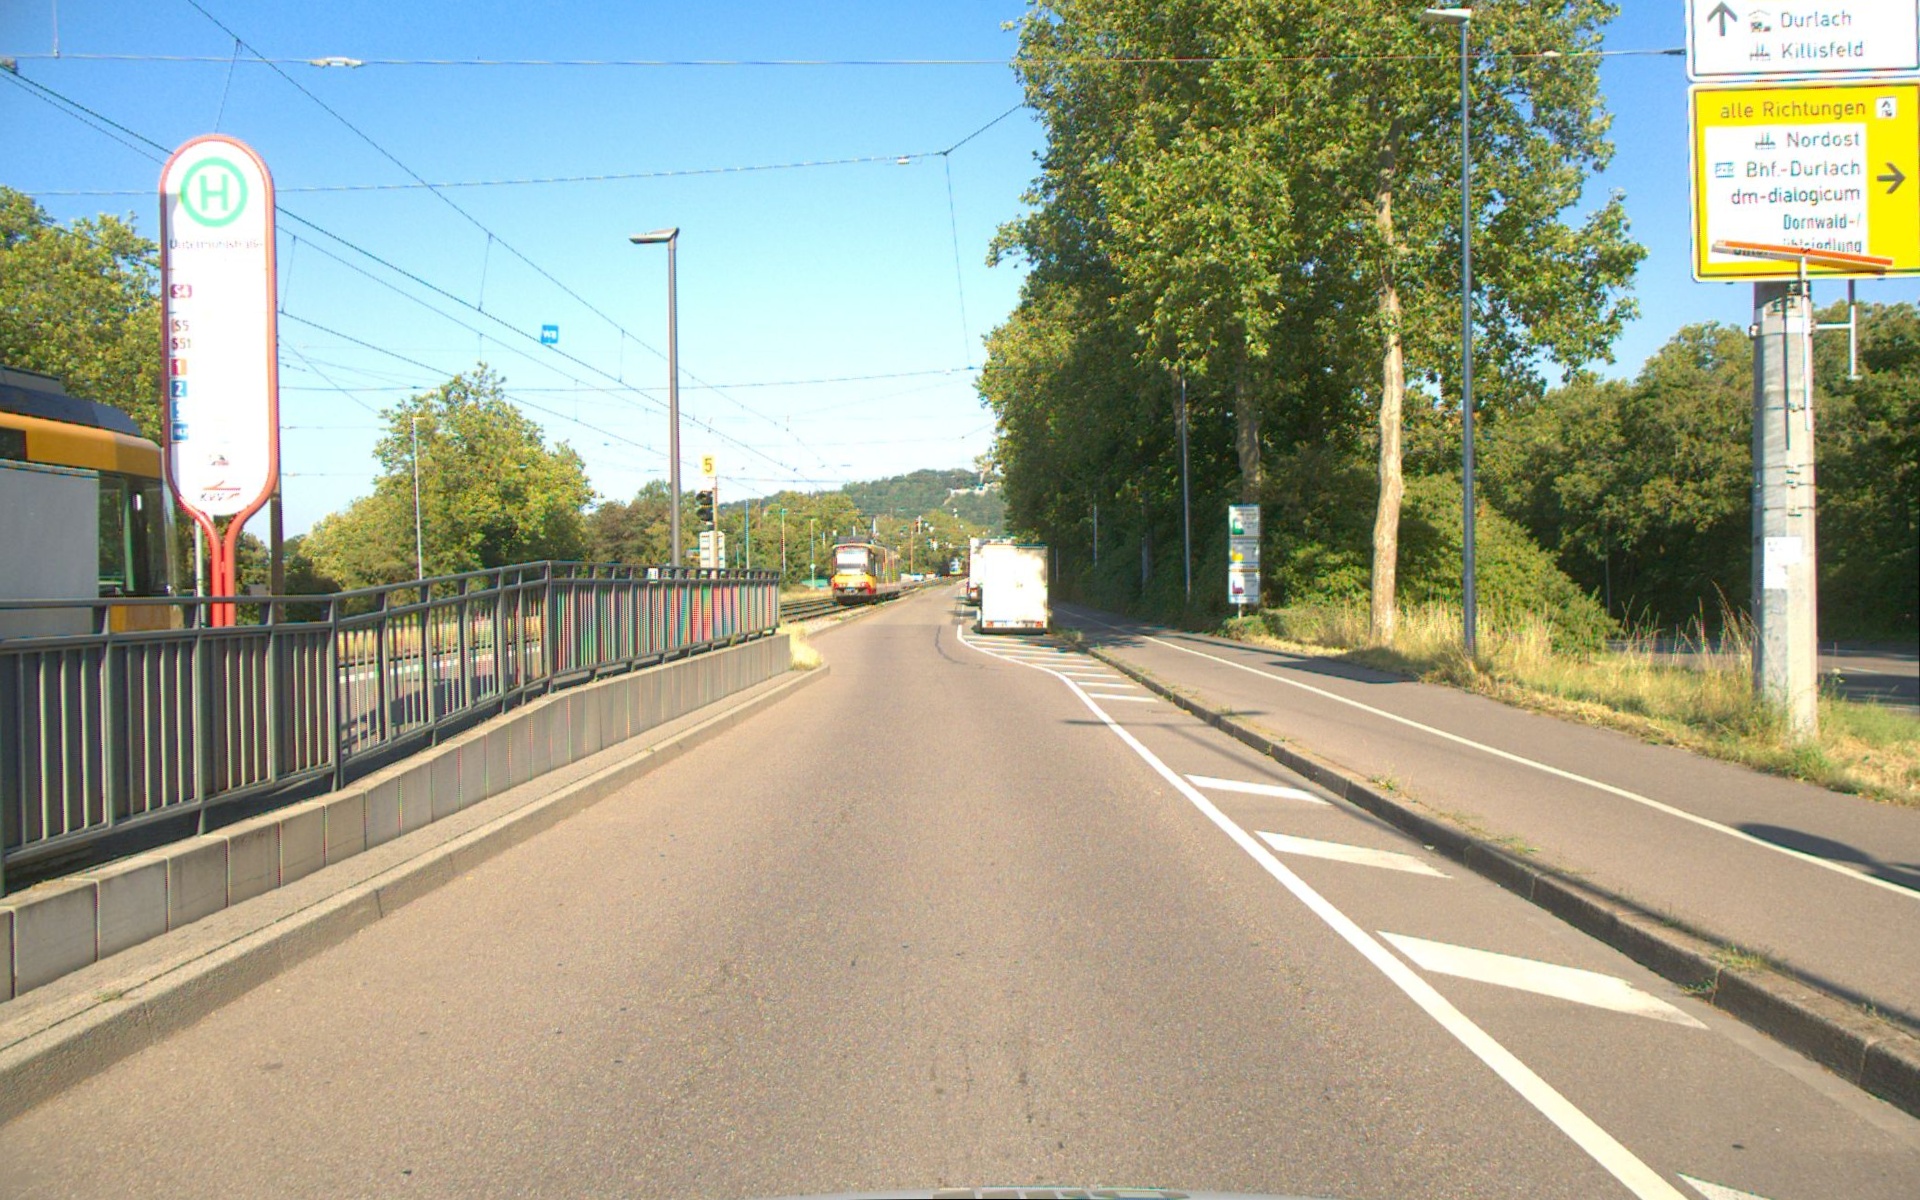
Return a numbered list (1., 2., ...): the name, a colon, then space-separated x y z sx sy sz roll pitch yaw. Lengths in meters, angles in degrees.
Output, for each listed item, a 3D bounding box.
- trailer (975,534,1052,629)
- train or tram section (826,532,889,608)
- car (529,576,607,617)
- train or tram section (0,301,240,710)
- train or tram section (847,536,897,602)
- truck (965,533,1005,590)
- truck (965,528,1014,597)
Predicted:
1. trailer: 1.706 -0.583 50.891 2.204 2.741 5.950 0 1 3
2. train or tram section: -6.037 -1.814 99.697 2.665 4.162 13.617 -2 1 1
3. car: -15.476 -0.170 65.566 1.952 1.588 4.544 0 1 1
4. train or tram section: -10.226 -0.849 13.515 2.769 3.751 12.971 0 1 1
5. train or tram section: -5.880 -2.109 111.429 2.639 4.160 9.912 -2 1 1
6. truck: 1.695 -2.716 118.097 2.661 3.849 9.762 1 1 0
7. truck: 1.691 -2.214 98.840 2.686 3.849 10.090 1 1 0
